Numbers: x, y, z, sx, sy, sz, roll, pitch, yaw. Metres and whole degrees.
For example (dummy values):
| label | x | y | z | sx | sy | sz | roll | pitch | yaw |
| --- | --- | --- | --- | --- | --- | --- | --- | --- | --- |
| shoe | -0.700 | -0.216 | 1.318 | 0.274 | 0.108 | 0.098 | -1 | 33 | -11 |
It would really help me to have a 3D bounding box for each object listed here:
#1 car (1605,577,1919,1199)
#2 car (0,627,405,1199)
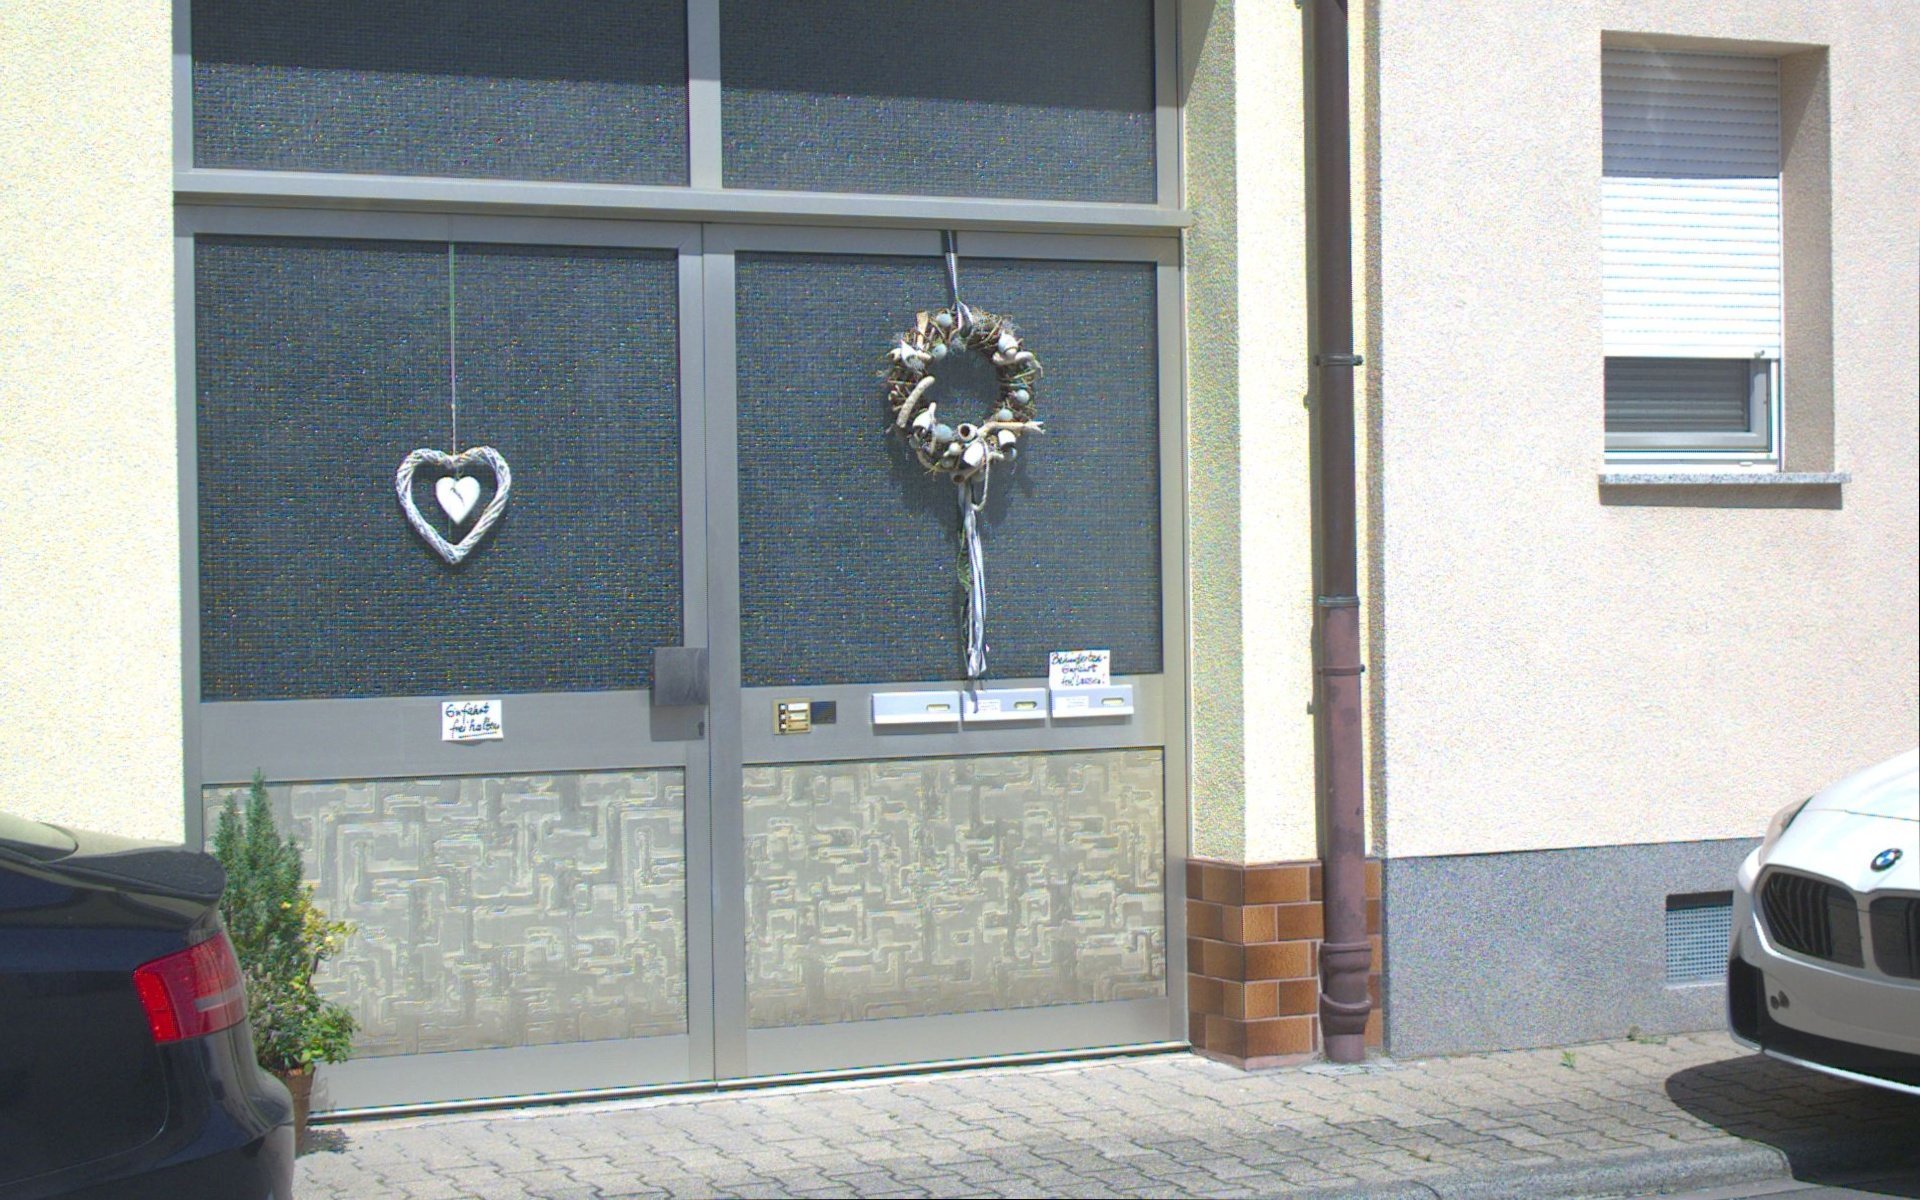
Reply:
| label | x | y | z | sx | sy | sz | roll | pitch | yaw |
| --- | --- | --- | --- | --- | --- | --- | --- | --- | --- |
| car | 3.953 | 0.647 | 8.930 | 4.201 | 1.449 | 1.788 | -1 | 0 | -25 |
| car | -3.356 | 0.810 | 5.141 | 4.616 | 1.389 | 1.928 | -1 | -2 | -27 |
